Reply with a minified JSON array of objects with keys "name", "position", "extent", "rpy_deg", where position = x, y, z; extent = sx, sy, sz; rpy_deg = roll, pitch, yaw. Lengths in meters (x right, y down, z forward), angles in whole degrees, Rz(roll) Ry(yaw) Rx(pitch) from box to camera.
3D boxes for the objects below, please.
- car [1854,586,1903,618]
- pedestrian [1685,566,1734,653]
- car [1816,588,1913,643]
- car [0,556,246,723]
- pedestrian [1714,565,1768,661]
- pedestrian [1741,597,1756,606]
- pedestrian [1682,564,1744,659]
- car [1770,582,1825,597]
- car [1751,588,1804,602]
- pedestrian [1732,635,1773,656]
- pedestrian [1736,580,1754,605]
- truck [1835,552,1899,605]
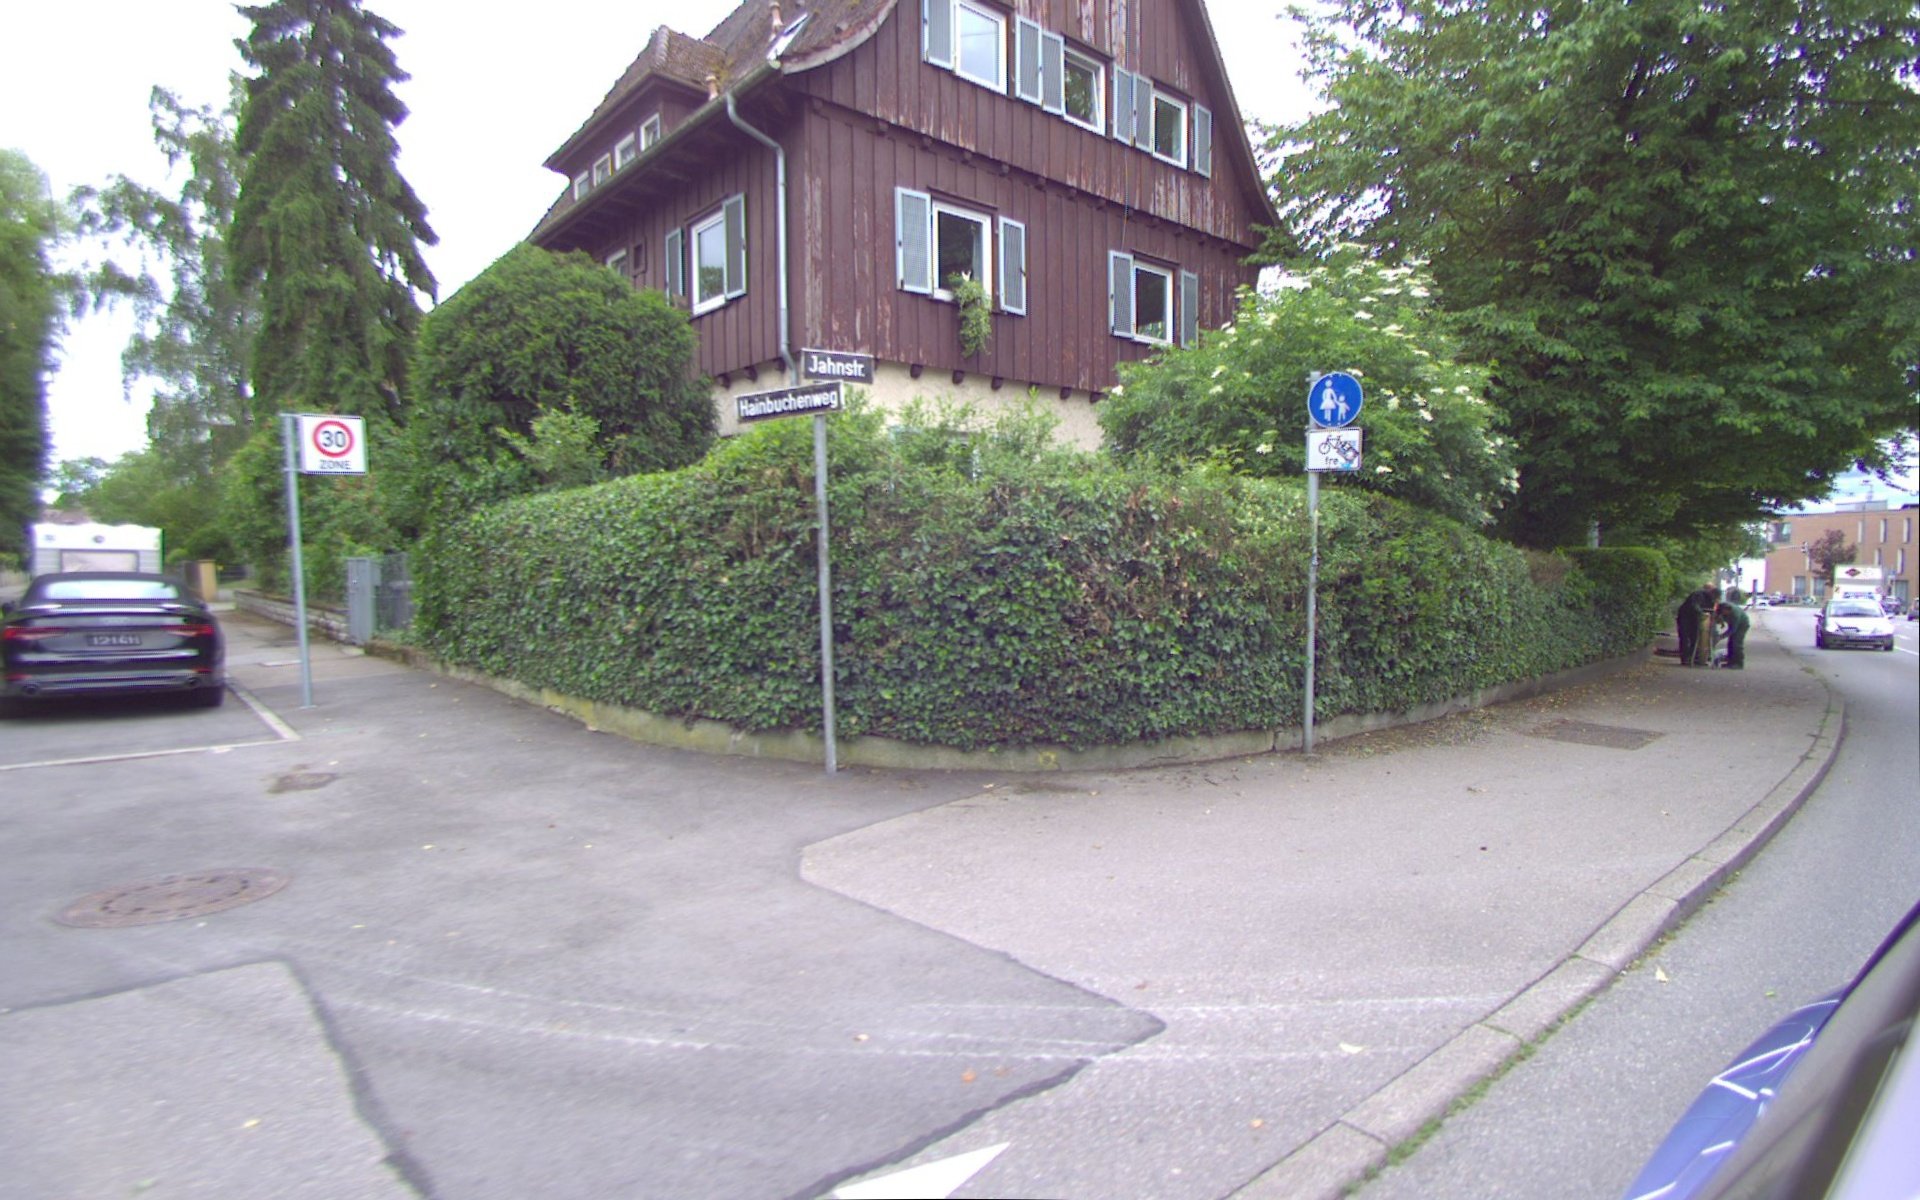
[{"name":"car","position":[53.816,0.097,59.352],"extent":[1.802,1.738,4.317],"rpy_deg":[1,1,38]},{"name":"pedestrian","position":[16.210,0.198,21.893],"extent":[0.805,1.830,0.731],"rpy_deg":[1,1,38]},{"name":"car","position":[28.504,0.434,32.022],"extent":[1.989,1.616,3.945],"rpy_deg":[1,1,38]},{"name":"car","position":[-9.022,0.310,10.914],"extent":[1.964,1.460,3.997],"rpy_deg":[0,1,-38]},{"name":"pedestrian","position":[15.135,0.239,19.616],"extent":[0.508,1.830,0.603],"rpy_deg":[1,1,-11]},{"name":"pedestrian","position":[60.150,0.121,77.212],"extent":[0.634,0.705,0.585],"rpy_deg":[1,1,-2]},{"name":"pedestrian","position":[14.736,0.212,19.819],"extent":[0.677,1.830,0.674],"rpy_deg":[1,1,-2]},{"name":"car","position":[94.993,-1.235,114.845],"extent":[4.372,1.577,1.991],"rpy_deg":[2,1,15]},{"name":"car","position":[95.907,-0.615,118.772],"extent":[4.372,1.577,1.991],"rpy_deg":[2,1,15]},{"name":"pedestrian","position":[17.136,0.974,21.895],"extent":[0.671,0.398,0.731],"rpy_deg":[2,1,38]},{"name":"pedestrian","position":[60.667,-0.583,78.234],"extent":[0.837,1.948,0.796],"rpy_deg":[1,1,19]},{"name":"truck","position":[63.508,-1.551,71.002],"extent":[2.773,3.503,7.391],"rpy_deg":[2,3,38]}]
